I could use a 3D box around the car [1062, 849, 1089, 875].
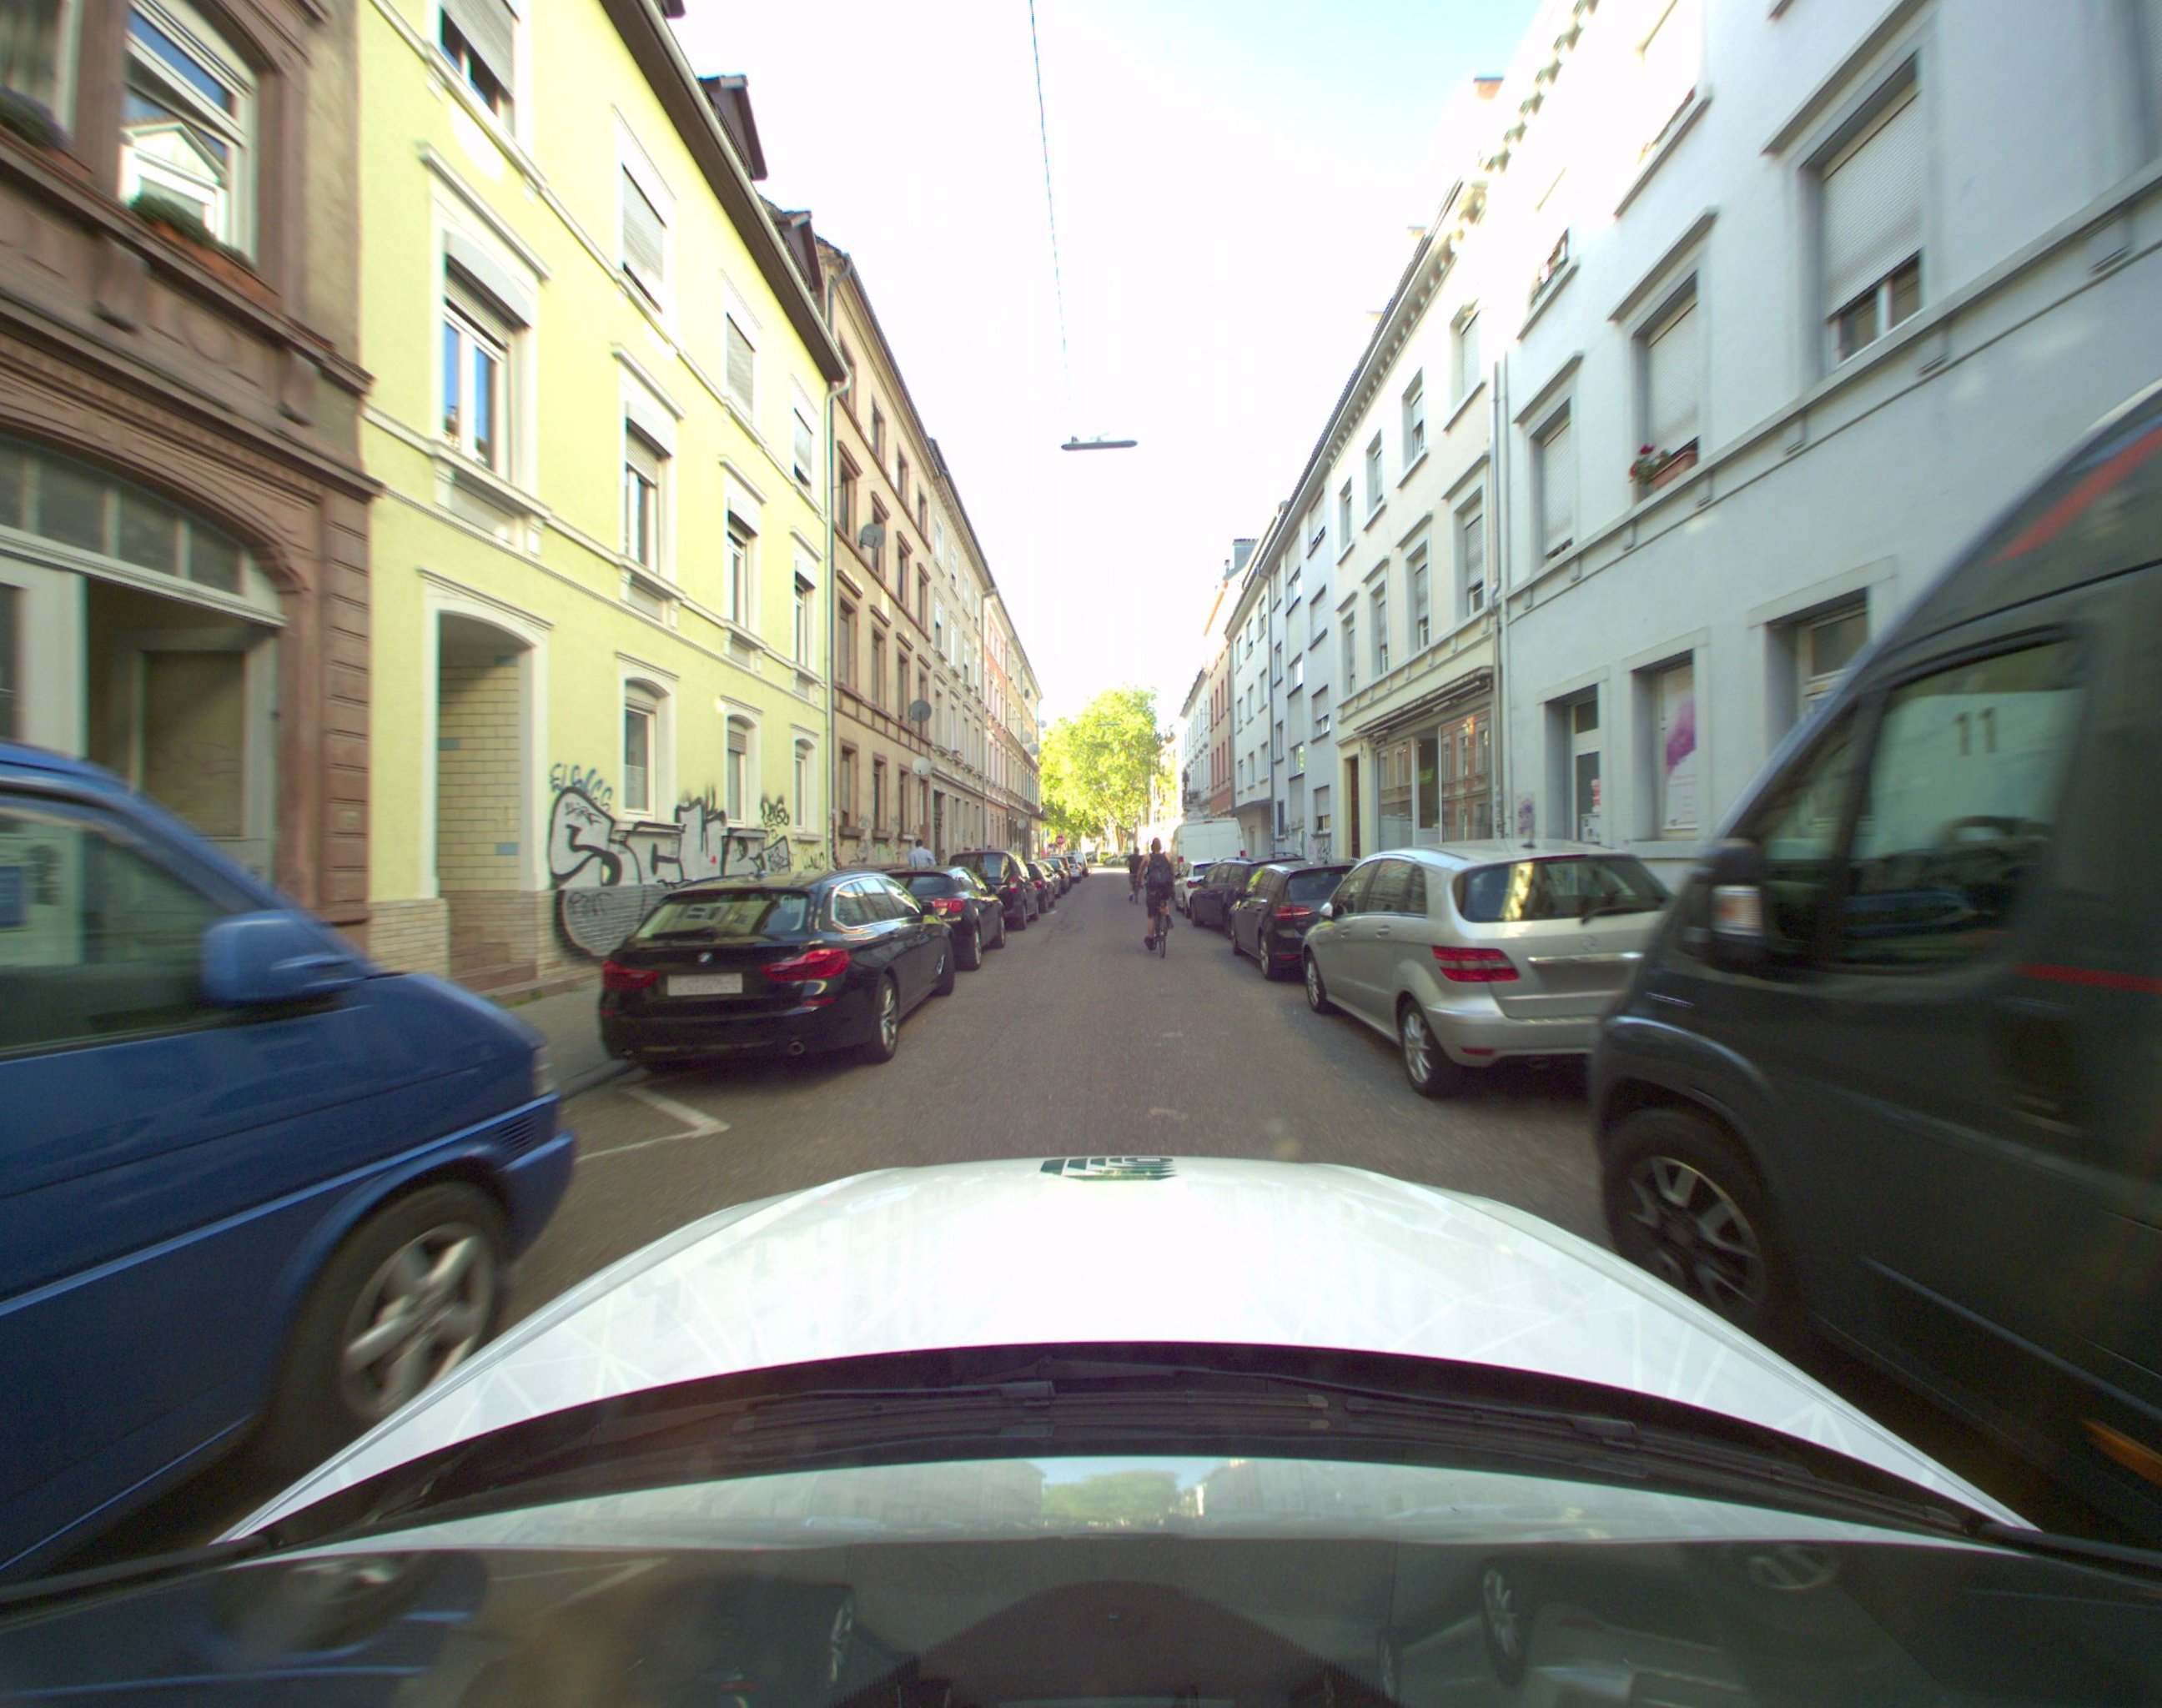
[{"bbox_3d":[-0.361,0.569,58.147,1.781,1.737,3.877,-1,0,2],"label":"car"}]

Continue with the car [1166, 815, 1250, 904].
[{"bbox_3d":[4.041,0.165,26.844,2.194,2.551,6.043,-1,0,4],"label":"car"}]

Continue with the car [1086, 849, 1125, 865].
[{"bbox_3d":[2.898,0.308,97.464,4.458,1.759,1.865,-1,0,-3],"label":"car"}]

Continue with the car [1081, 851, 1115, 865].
[{"bbox_3d":[2.284,0.499,108.945,4.458,1.696,1.865,-1,0,-3],"label":"car"}]

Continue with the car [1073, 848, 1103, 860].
[{"bbox_3d":[1.031,0.043,122.316,4.458,1.696,1.865,-1,0,-3],"label":"car"}]

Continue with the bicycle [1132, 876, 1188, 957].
[{"bbox_3d":[1.211,0.933,12.837,0.737,1.100,2.043,1,0,2],"label":"bicycle"}]

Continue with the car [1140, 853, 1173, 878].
[{"bbox_3d":[4.765,0.681,51.629,1.704,1.470,4.000,-1,0,0],"label":"car"}]

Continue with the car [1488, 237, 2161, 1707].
[{"bbox_3d":[2.748,0.228,0.256,2.167,2.425,6.312,-2,0,2],"label":"car"}]

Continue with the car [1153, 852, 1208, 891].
[{"bbox_3d":[3.999,0.675,33.379,1.726,1.470,4.020,-1,0,-1],"label":"car"}]

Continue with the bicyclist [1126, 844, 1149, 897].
[{"bbox_3d":[1.801,0.531,26.164,0.667,1.658,0.877,-1,0,2],"label":"bicyclist"}]

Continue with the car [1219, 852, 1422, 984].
[{"bbox_3d":[3.135,0.738,11.575,1.739,1.485,4.245,-1,0,2],"label":"car"}]

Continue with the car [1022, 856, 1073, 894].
[{"bbox_3d":[-1.319,0.823,33.614,1.699,1.414,4.304,-1,0,2],"label":"car"}]

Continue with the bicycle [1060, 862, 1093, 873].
[{"bbox_3d":[-0.382,1.108,67.556,2.707,0.892,0.618,-1,0,-1],"label":"bicycle"}]

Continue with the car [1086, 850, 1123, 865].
[{"bbox_3d":[2.902,0.456,102.296,4.458,1.696,1.865,-1,0,-3],"label":"car"}]

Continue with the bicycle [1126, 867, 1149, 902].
[{"bbox_3d":[1.802,0.952,26.271,0.661,1.037,1.960,-1,0,2],"label":"bicycle"}]

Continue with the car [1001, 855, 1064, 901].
[{"bbox_3d":[-1.629,0.791,28.559,1.666,1.430,3.893,-1,0,4],"label":"car"}]

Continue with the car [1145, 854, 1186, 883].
[{"bbox_3d":[4.224,0.697,41.085,1.652,1.338,4.000,-1,0,0],"label":"car"}]

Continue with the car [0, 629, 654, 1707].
[{"bbox_3d":[-2.717,0.619,0.882,1.820,1.891,4.616,-4,0,2],"label":"car"}]

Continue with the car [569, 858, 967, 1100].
[{"bbox_3d":[-2.344,0.820,7.584,1.856,1.440,4.645,-1,1,0],"label":"car"}]

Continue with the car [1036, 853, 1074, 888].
[{"bbox_3d":[-1.188,0.760,38.575,1.599,1.530,3.379,-2,0,0],"label":"car"}]

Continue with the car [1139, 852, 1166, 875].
[{"bbox_3d":[5.114,0.658,58.733,1.646,1.530,3.574,-1,0,0],"label":"car"}]

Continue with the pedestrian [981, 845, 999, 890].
[{"bbox_3d":[-3.801,0.556,33.897,0.608,1.858,0.754,1,0,1],"label":"pedestrian"}]

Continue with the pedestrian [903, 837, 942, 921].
[{"bbox_3d":[-3.510,0.543,18.110,0.648,1.817,0.754,1,0,2],"label":"pedestrian"}]

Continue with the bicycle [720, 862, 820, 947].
[{"bbox_3d":[-5.078,0.777,13.490,0.665,1.245,2.328,2,0,2],"label":"bicycle"}]

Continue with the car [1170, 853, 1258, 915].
[{"bbox_3d":[3.398,0.724,21.412,1.719,1.429,3.833,-1,0,1],"label":"car"}]

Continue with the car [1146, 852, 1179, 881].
[{"bbox_3d":[4.590,0.671,46.172,1.586,1.492,3.878,-1,0,3],"label":"car"}]

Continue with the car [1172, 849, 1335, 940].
[{"bbox_3d":[3.344,0.710,16.824,1.810,1.478,4.596,-4,1,-7],"label":"car"}]

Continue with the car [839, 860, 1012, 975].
[{"bbox_3d":[-2.204,0.839,12.646,1.730,1.427,4.002,-1,0,2],"label":"car"}]

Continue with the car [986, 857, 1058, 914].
[{"bbox_3d":[-1.620,0.848,23.578,1.585,1.440,3.656,-1,0,3],"label":"car"}]

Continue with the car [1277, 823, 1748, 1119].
[{"bbox_3d":[2.977,0.666,6.825,1.687,1.608,4.376,-3,0,2],"label":"car"}]

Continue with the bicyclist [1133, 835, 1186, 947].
[{"bbox_3d":[1.211,0.552,12.781,0.737,1.679,1.117,1,0,2],"label":"bicyclist"}]

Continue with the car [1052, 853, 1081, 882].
[{"bbox_3d":[-0.834,0.728,45.947,1.540,1.550,3.463,-1,0,-1],"label":"car"}]

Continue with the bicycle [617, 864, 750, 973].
[{"bbox_3d":[-5.211,0.787,10.848,0.671,1.271,2.087,-1,0,2],"label":"bicycle"}]

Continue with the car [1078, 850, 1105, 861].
[{"bbox_3d":[1.769,0.253,137.929,4.458,1.696,1.865,-1,0,-3],"label":"car"}]

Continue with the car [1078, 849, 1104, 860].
[{"bbox_3d":[1.733,0.116,139.942,4.458,1.696,1.865,-1,0,-3],"label":"car"}]

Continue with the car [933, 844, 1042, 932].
[{"bbox_3d":[-2.004,0.697,18.606,1.794,1.698,4.002,-3,0,2],"label":"car"}]
